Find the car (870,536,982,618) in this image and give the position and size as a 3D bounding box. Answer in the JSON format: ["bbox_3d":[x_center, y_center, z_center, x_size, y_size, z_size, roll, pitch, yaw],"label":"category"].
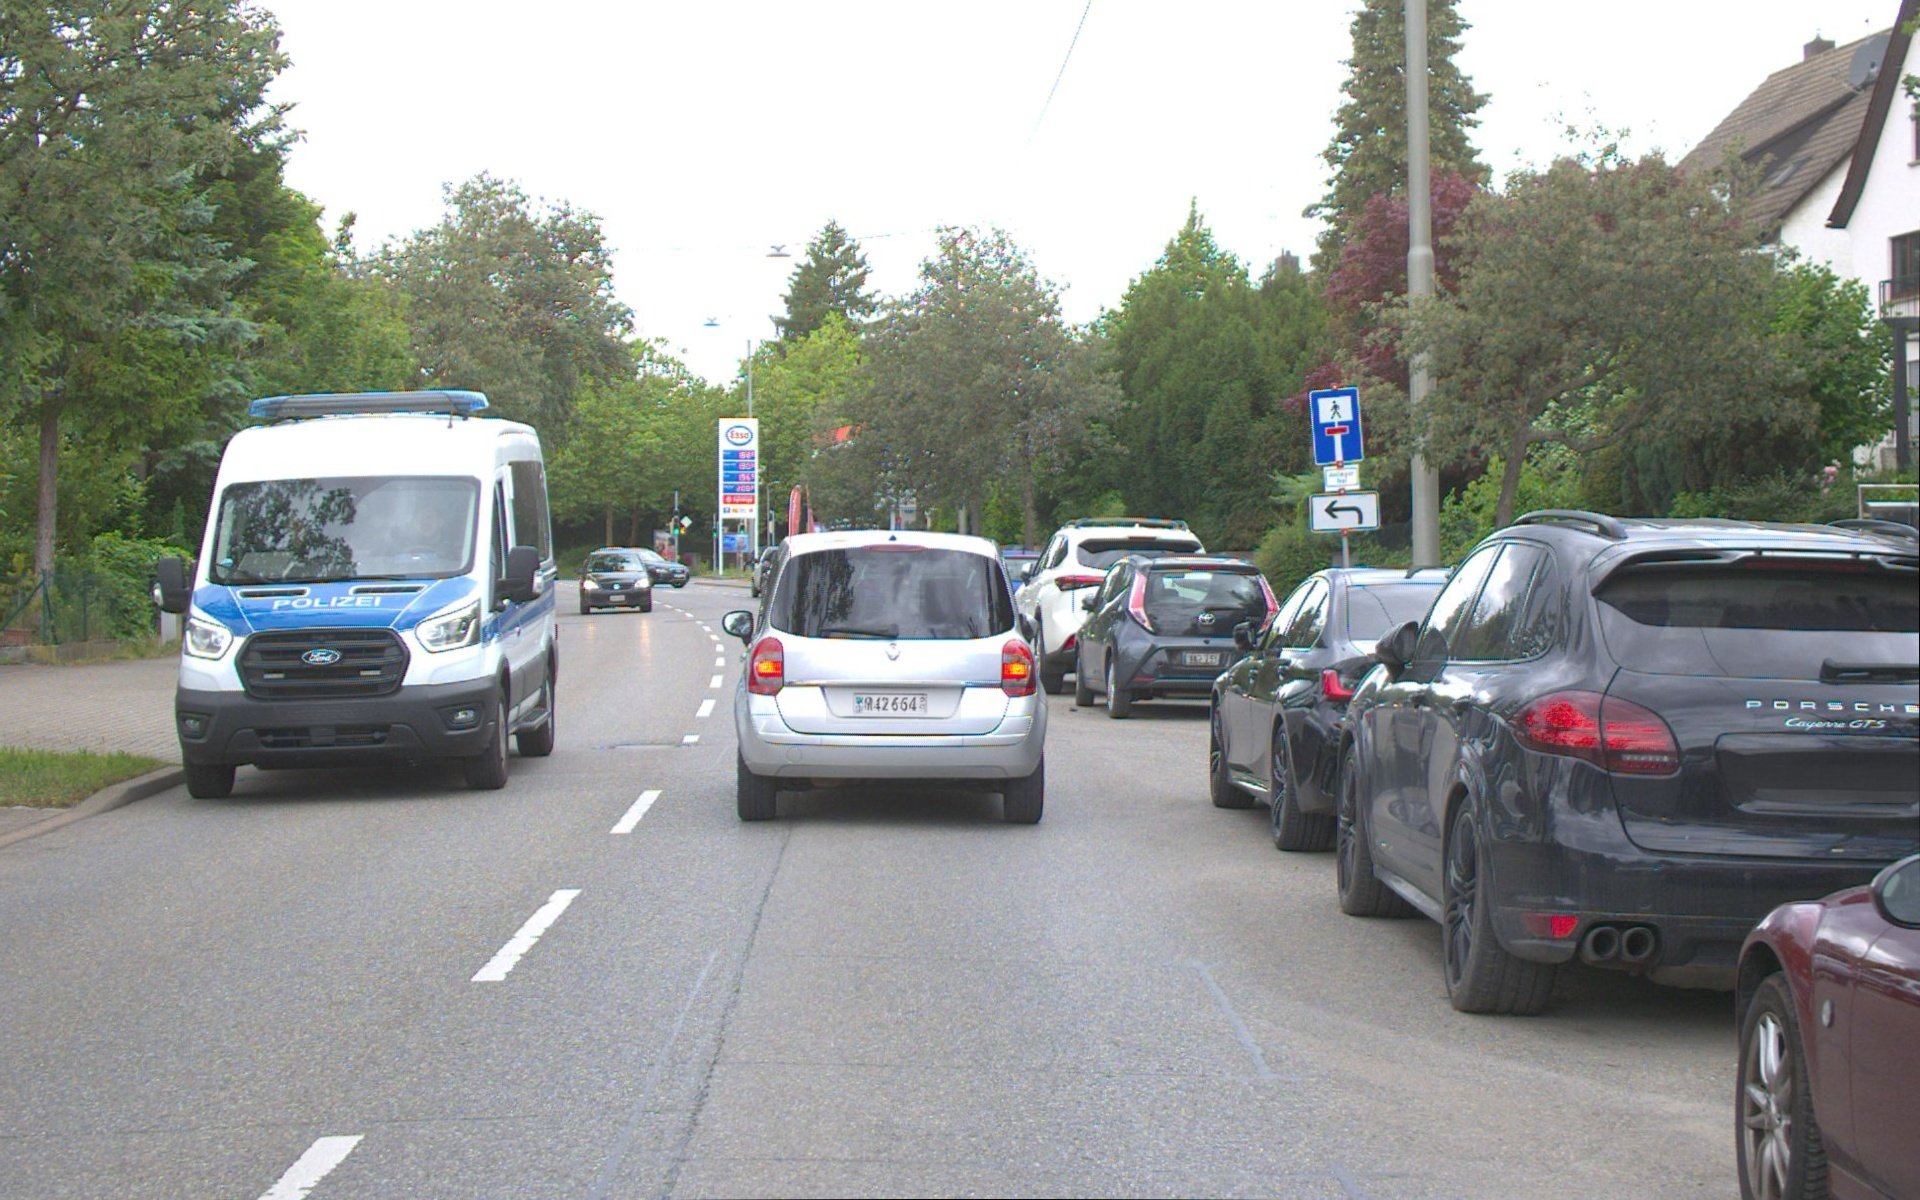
[{"bbox_3d":[-0.700,-0.446,67.257,1.695,1.552,3.956,1,0,-8],"label":"car"}]

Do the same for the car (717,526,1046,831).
[{"bbox_3d":[-0.418,0.374,19.495,1.679,1.554,3.512,1,1,0],"label":"car"}]

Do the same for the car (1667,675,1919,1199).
[{"bbox_3d":[2.466,0.855,6.137,1.481,1.232,3.884,2,1,-1],"label":"car"}]

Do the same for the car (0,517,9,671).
[{"bbox_3d":[-12.196,-0.104,35.229,4.333,1.612,1.973,1,0,0],"label":"car"}]

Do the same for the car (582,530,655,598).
[{"bbox_3d":[-7.988,-0.846,80.589,1.574,1.467,3.471,-3,1,-5],"label":"car"}]

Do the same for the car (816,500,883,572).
[{"bbox_3d":[-4.632,-2.657,143.250,2.281,2.901,5.280,1,1,-7],"label":"car"}]

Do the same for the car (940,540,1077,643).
[{"bbox_3d":[0.694,-0.164,51.502,1.626,1.447,3.877,-1,1,-5],"label":"car"}]

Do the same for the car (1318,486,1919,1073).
[{"bbox_3d":[2.496,0.498,12.424,1.830,1.706,4.549,1,1,-1],"label":"car"}]

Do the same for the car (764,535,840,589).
[{"bbox_3d":[-4.523,-1.104,98.143,1.695,1.501,3.974,0,1,-9],"label":"car"}]

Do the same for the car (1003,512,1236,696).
[{"bbox_3d":[1.605,0.003,36.254,1.799,1.772,4.706,1,1,-5],"label":"car"}]

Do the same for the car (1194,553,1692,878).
[{"bbox_3d":[2.411,0.510,18.328,1.830,1.452,4.551,2,1,-2],"label":"car"}]

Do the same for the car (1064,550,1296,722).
[{"bbox_3d":[1.957,0.288,31.415,1.558,1.438,3.507,1,1,-5],"label":"car"}]

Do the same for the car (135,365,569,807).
[{"bbox_3d":[-3.940,-0.133,23.239,2.073,2.573,5.300,-2,1,-2],"label":"car"}]

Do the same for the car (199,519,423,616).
[{"bbox_3d":[-12.628,-0.640,67.097,4.086,1.700,1.748,2,1,-5],"label":"car"}]
